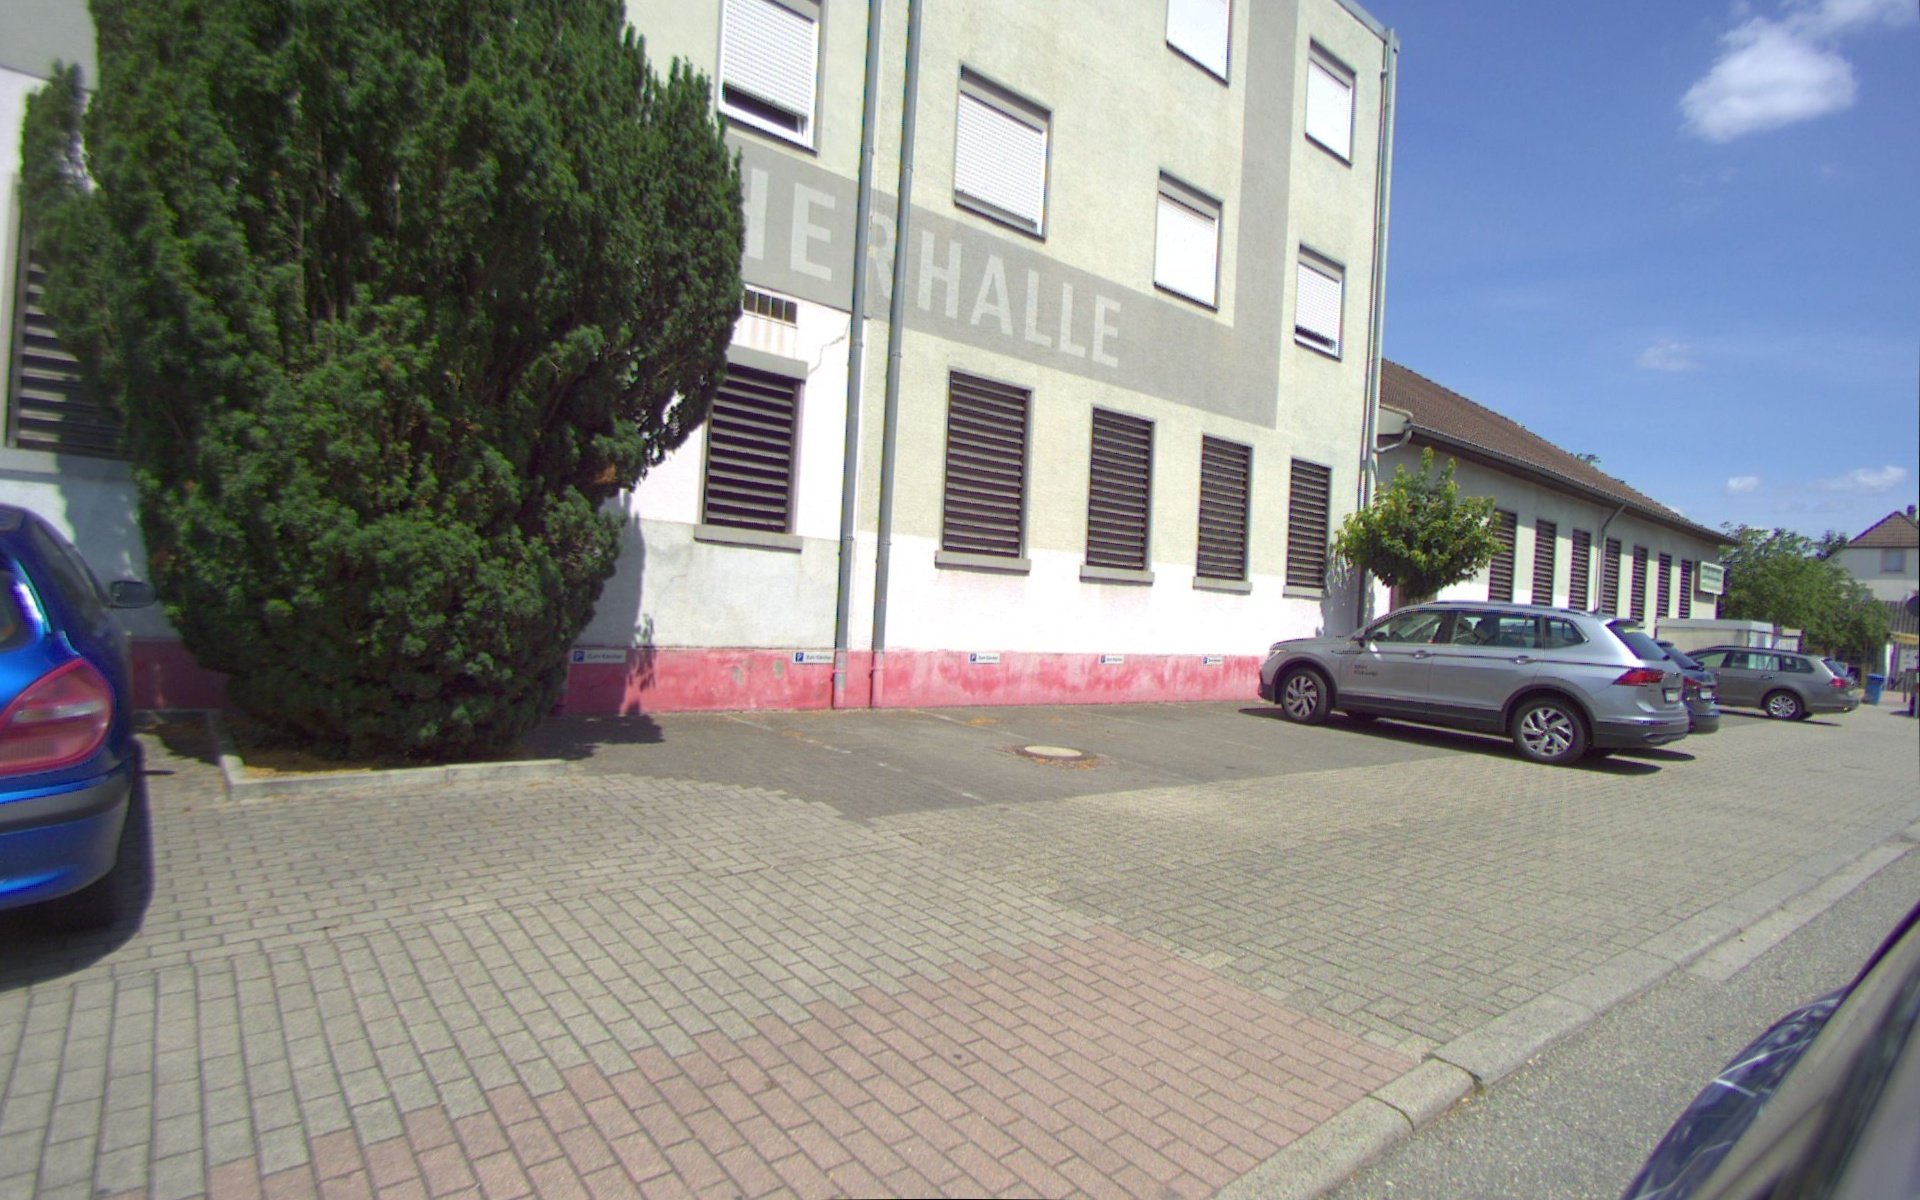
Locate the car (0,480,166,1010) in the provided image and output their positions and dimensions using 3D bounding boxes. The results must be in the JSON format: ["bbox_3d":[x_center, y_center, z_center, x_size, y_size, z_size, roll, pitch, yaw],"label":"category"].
[{"bbox_3d":[-4.471,0.228,4.123,1.749,1.456,4.334,1,5,-41],"label":"car"}]

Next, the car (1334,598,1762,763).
[{"bbox_3d":[7.662,0.944,13.584,1.964,1.538,4.511,4,1,-41],"label":"car"}]

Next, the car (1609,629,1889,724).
[{"bbox_3d":[17.291,1.614,22.389,1.883,1.472,4.538,4,1,-40],"label":"car"}]

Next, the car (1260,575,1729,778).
[{"bbox_3d":[6.096,0.739,11.989,1.889,1.718,4.462,4,1,-42],"label":"car"}]
